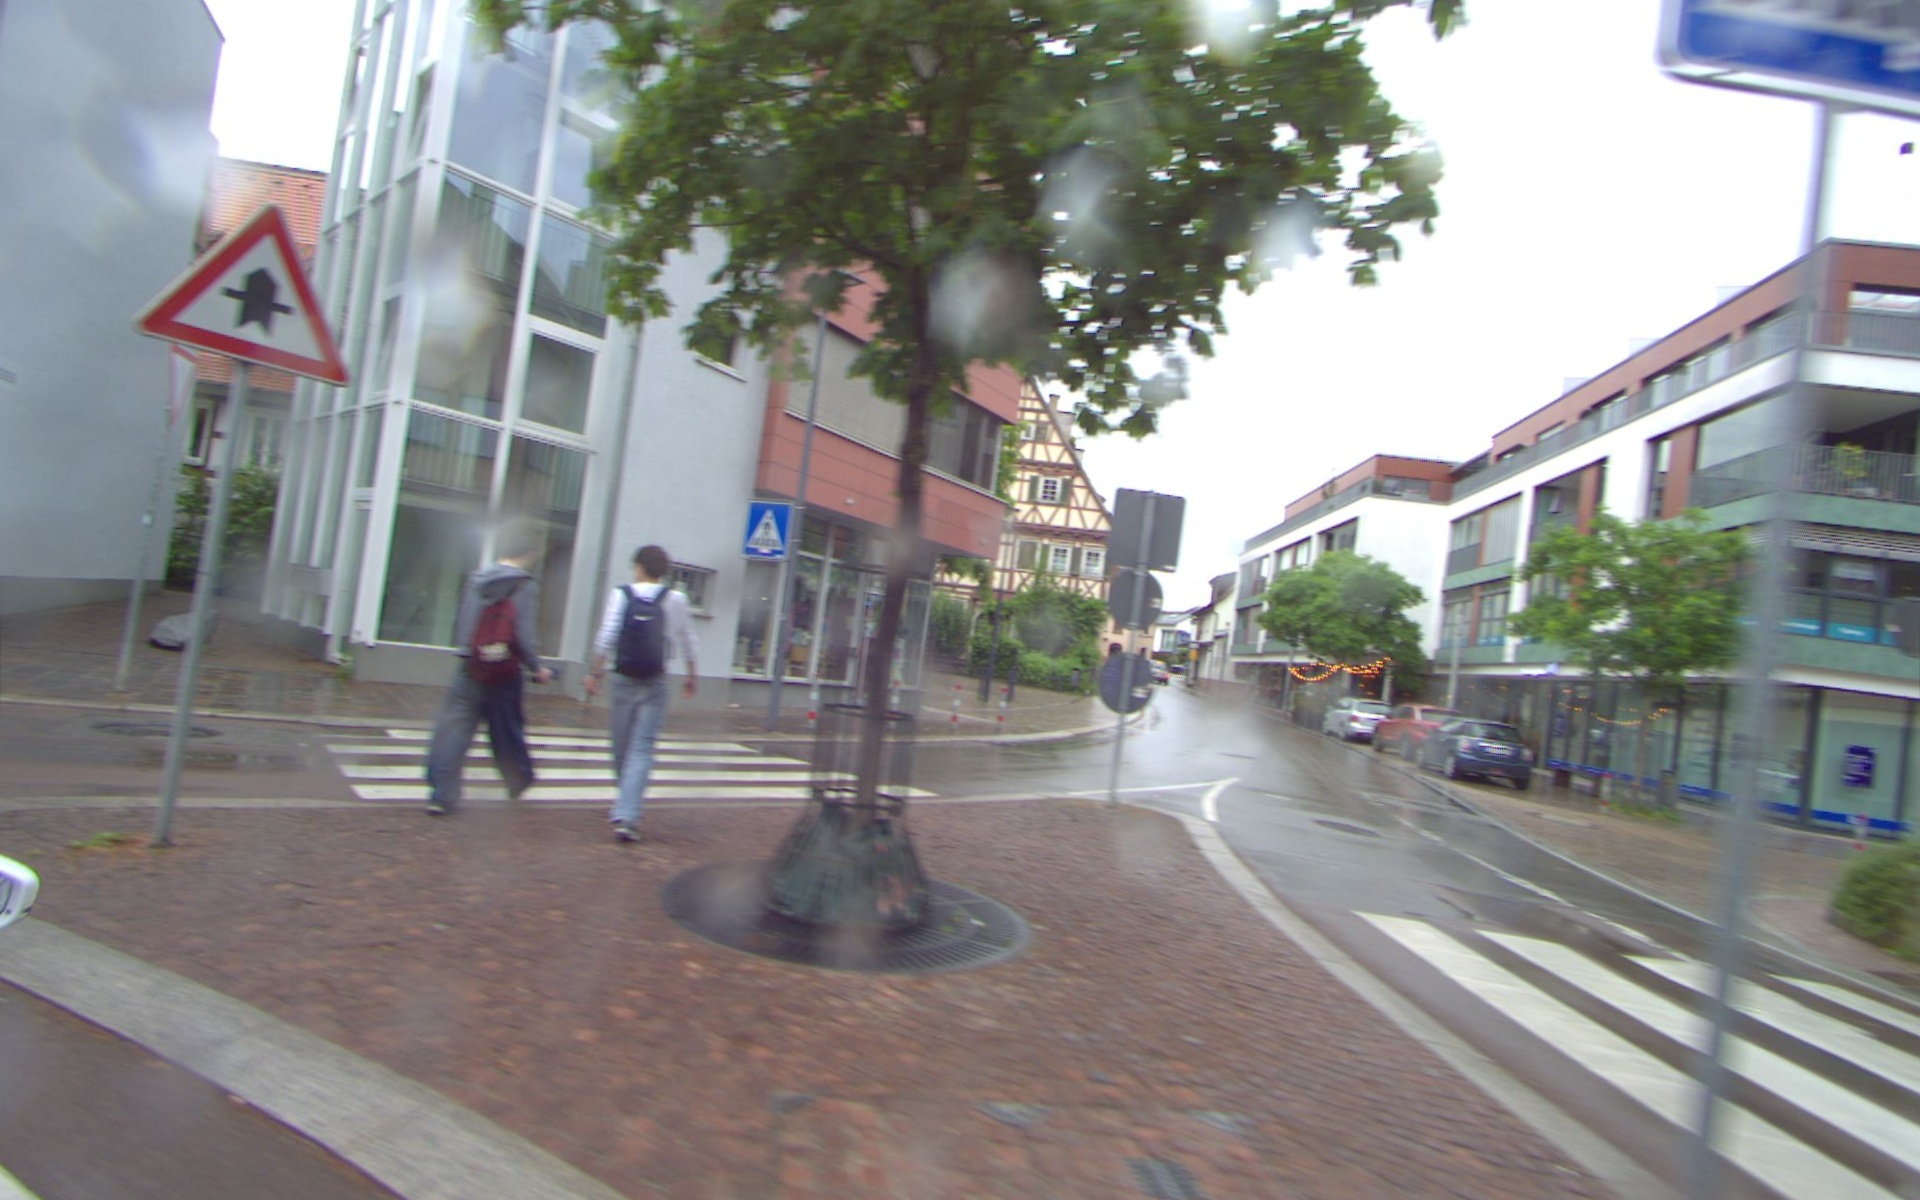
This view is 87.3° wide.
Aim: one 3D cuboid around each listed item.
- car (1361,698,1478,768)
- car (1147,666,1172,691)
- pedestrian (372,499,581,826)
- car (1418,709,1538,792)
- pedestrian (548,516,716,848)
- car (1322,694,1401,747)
[{"bbox_3d":[12.948,3.700,28.607,1.598,1.518,4.005,5,-2,4],"label":"car"},{"bbox_3d":[13.936,5.452,70.404,1.498,1.487,3.346,7,-2,10],"label":"car"},{"bbox_3d":[-2.991,0.386,6.352,0.682,1.821,1.058,7,-2,-8],"label":"pedestrian"},{"bbox_3d":[12.021,3.458,23.565,1.512,1.379,3.375,6,-1,11],"label":"car"},{"bbox_3d":[-1.993,0.490,6.274,0.654,1.827,1.059,7,-2,-11],"label":"pedestrian"},{"bbox_3d":[13.606,4.055,34.323,1.590,1.430,4.005,4,-2,10],"label":"car"}]
